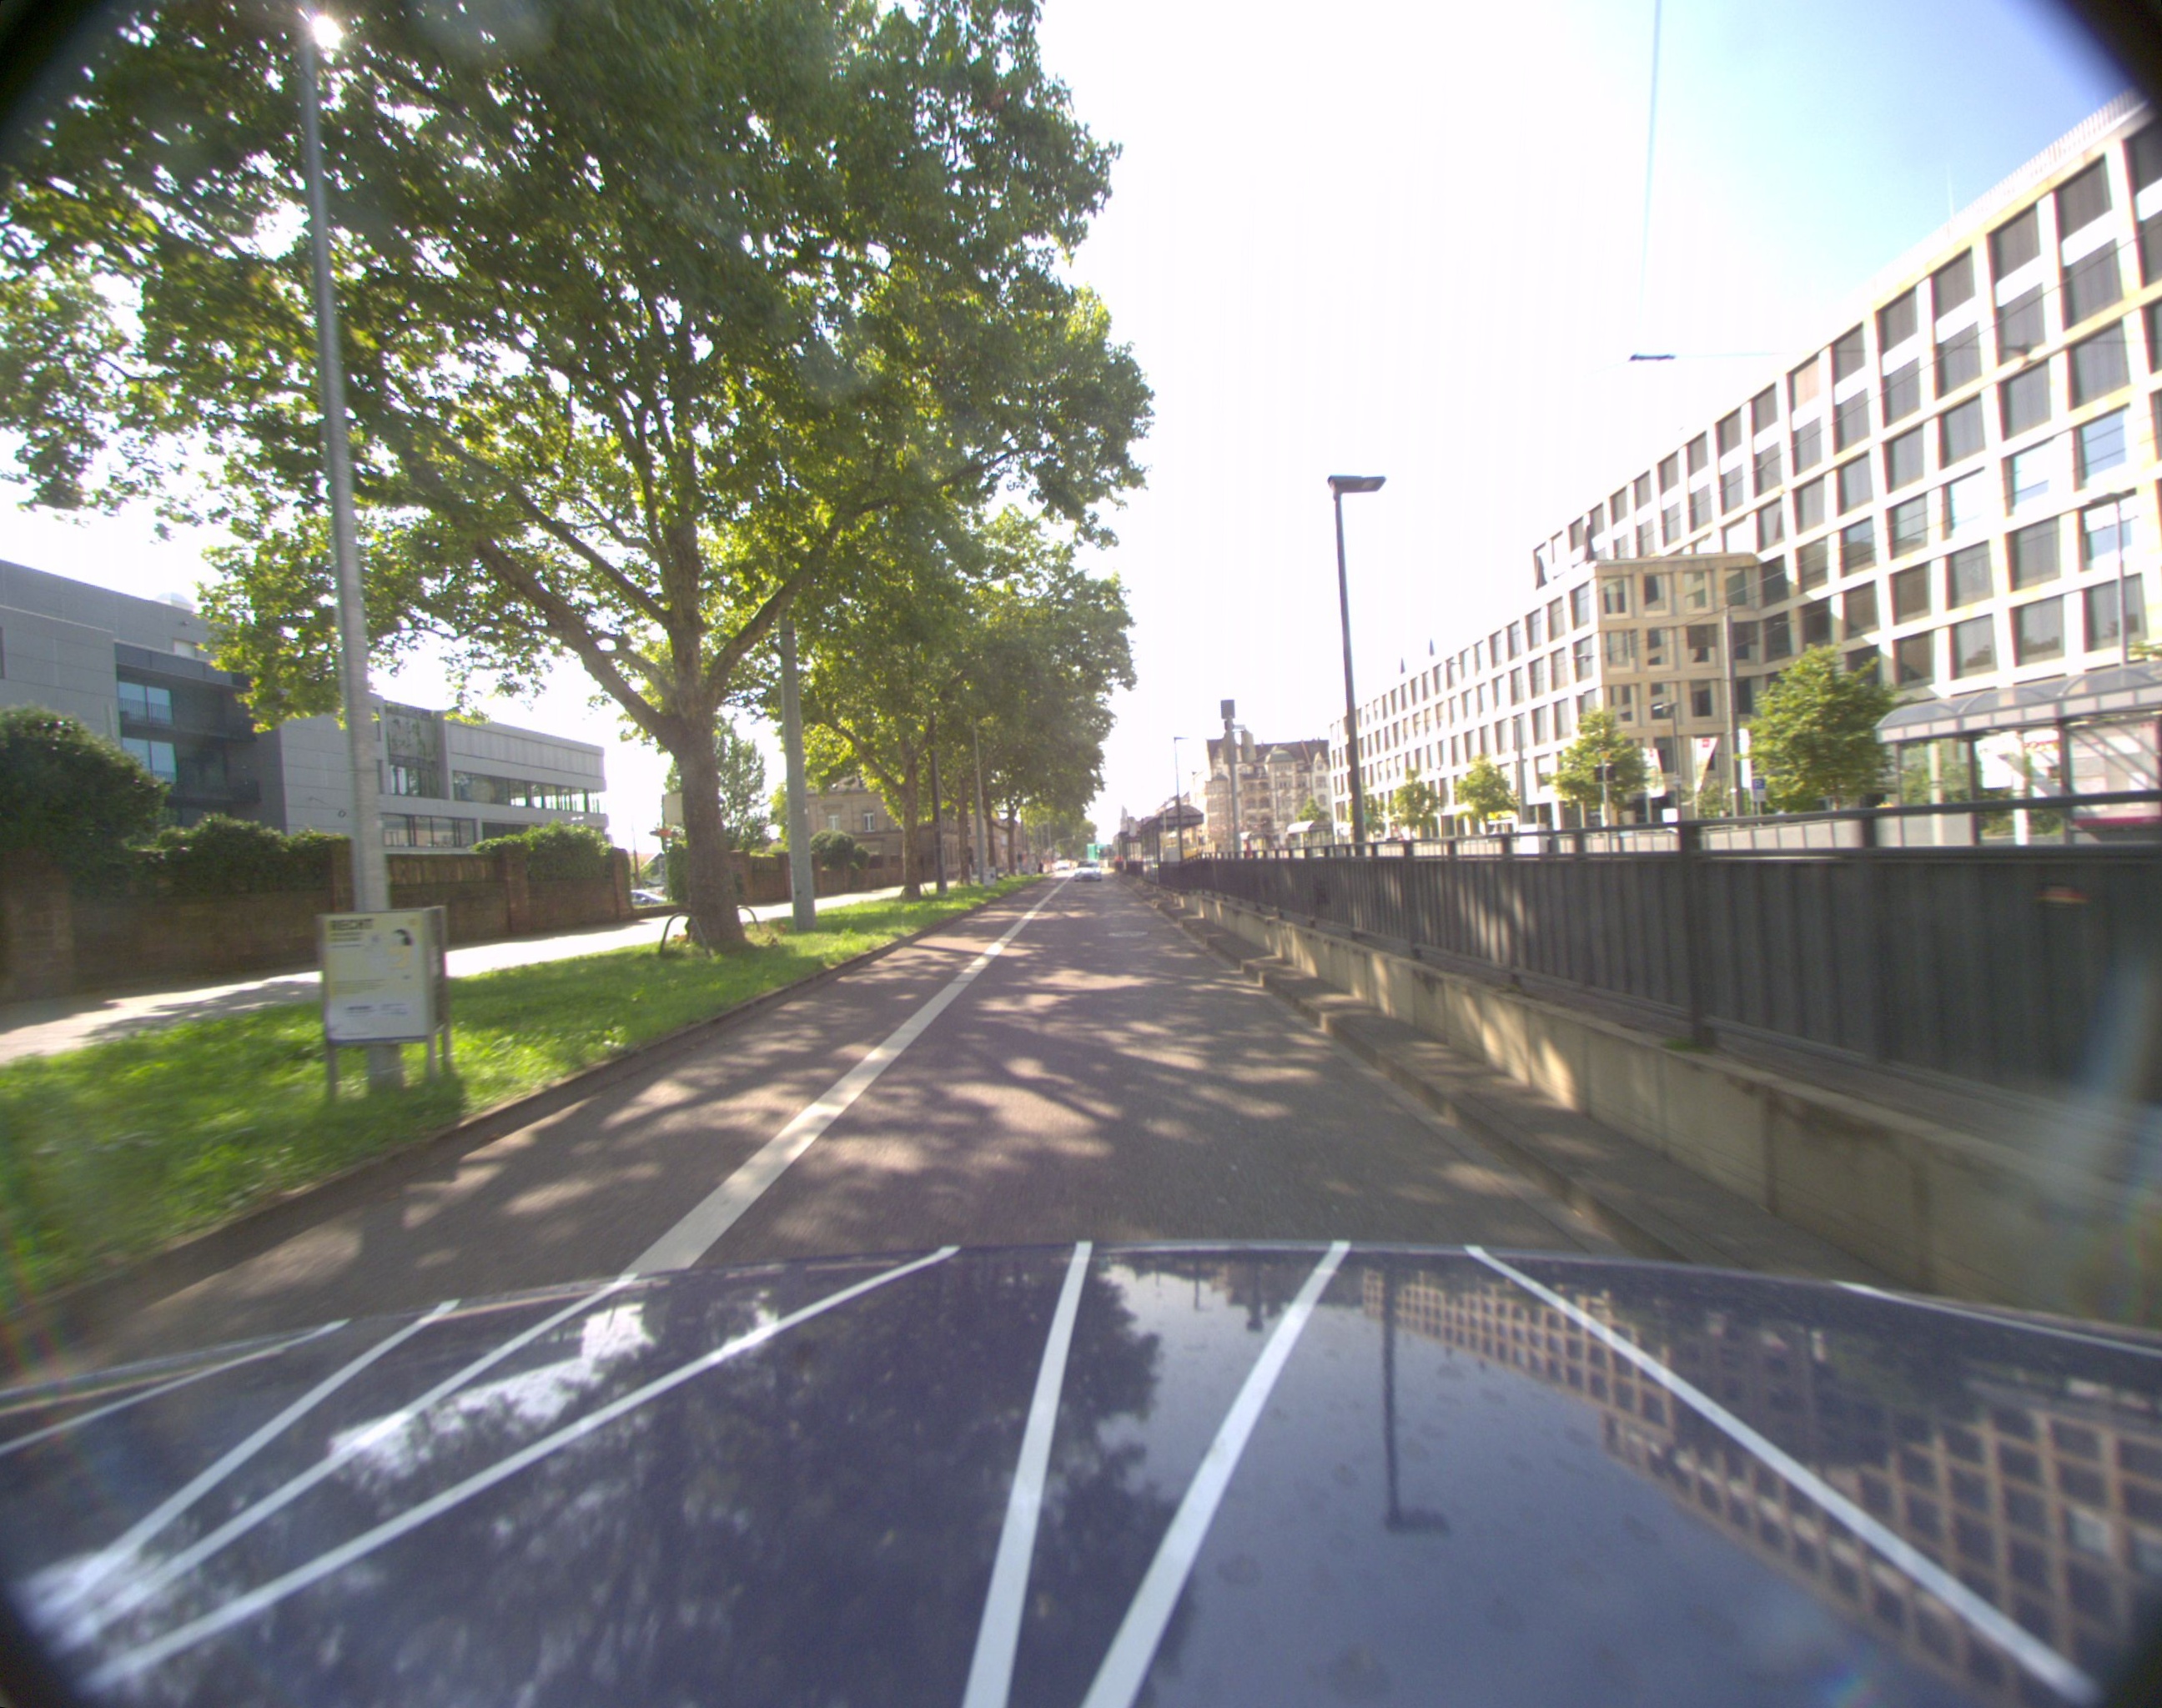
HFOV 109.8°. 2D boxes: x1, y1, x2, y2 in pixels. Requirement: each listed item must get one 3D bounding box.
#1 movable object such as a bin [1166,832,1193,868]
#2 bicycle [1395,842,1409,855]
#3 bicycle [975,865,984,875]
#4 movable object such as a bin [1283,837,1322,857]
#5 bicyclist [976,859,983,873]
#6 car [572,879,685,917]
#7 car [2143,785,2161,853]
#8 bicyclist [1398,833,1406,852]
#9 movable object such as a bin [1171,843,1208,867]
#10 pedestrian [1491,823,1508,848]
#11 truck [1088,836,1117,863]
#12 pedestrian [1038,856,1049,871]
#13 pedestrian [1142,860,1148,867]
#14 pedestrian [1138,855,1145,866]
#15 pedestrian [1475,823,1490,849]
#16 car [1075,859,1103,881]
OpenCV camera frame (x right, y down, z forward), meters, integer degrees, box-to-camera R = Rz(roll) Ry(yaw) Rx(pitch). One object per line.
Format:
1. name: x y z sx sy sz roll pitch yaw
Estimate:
1. movable object such as a bin: 13.238 -0.468 102.588 2.994 4.527 4.213 -3 -1 3
2. bicycle: 23.495 -0.414 55.626 0.389 0.874 1.576 -3 0 1
3. bicycle: -10.393 1.643 77.944 0.549 1.001 1.713 -4 0 1
4. movable object such as a bin: 36.428 -1.147 125.250 5.515 2.773 2.490 -4 1 1
5. bicyclist: -10.417 1.227 77.948 0.549 1.444 0.842 -3 0 1
6. car: -21.101 2.041 35.568 3.998 1.410 2.000 -4 0 -2
7. car: 25.611 -0.845 15.597 1.768 1.565 4.132 -2 0 -1
8. bicyclist: 23.467 -0.841 55.544 0.387 1.353 0.447 -3 0 1
9. movable object such as a bin: 15.783 0.218 110.932 4.127 3.203 3.564 -3 -1 -15
10. pedestrian: 33.994 -1.475 61.726 0.769 2.002 0.822 -4 0 4
11. truck: 3.233 -0.578 118.143 2.817 3.766 9.010 -3 -1 -9
12. pedestrian: -4.238 1.072 86.654 0.886 1.616 0.821 -3 0 -36
13. pedestrian: 8.606 1.314 102.428 0.702 0.949 0.882 -3 0 1
14. pedestrian: 8.824 0.951 110.183 0.741 1.470 0.704 -4 0 23
15. pedestrian: 32.406 -1.428 61.329 0.768 2.002 0.822 -4 0 4
16. car: 0.580 1.055 52.754 1.844 1.451 4.000 0 0 1
